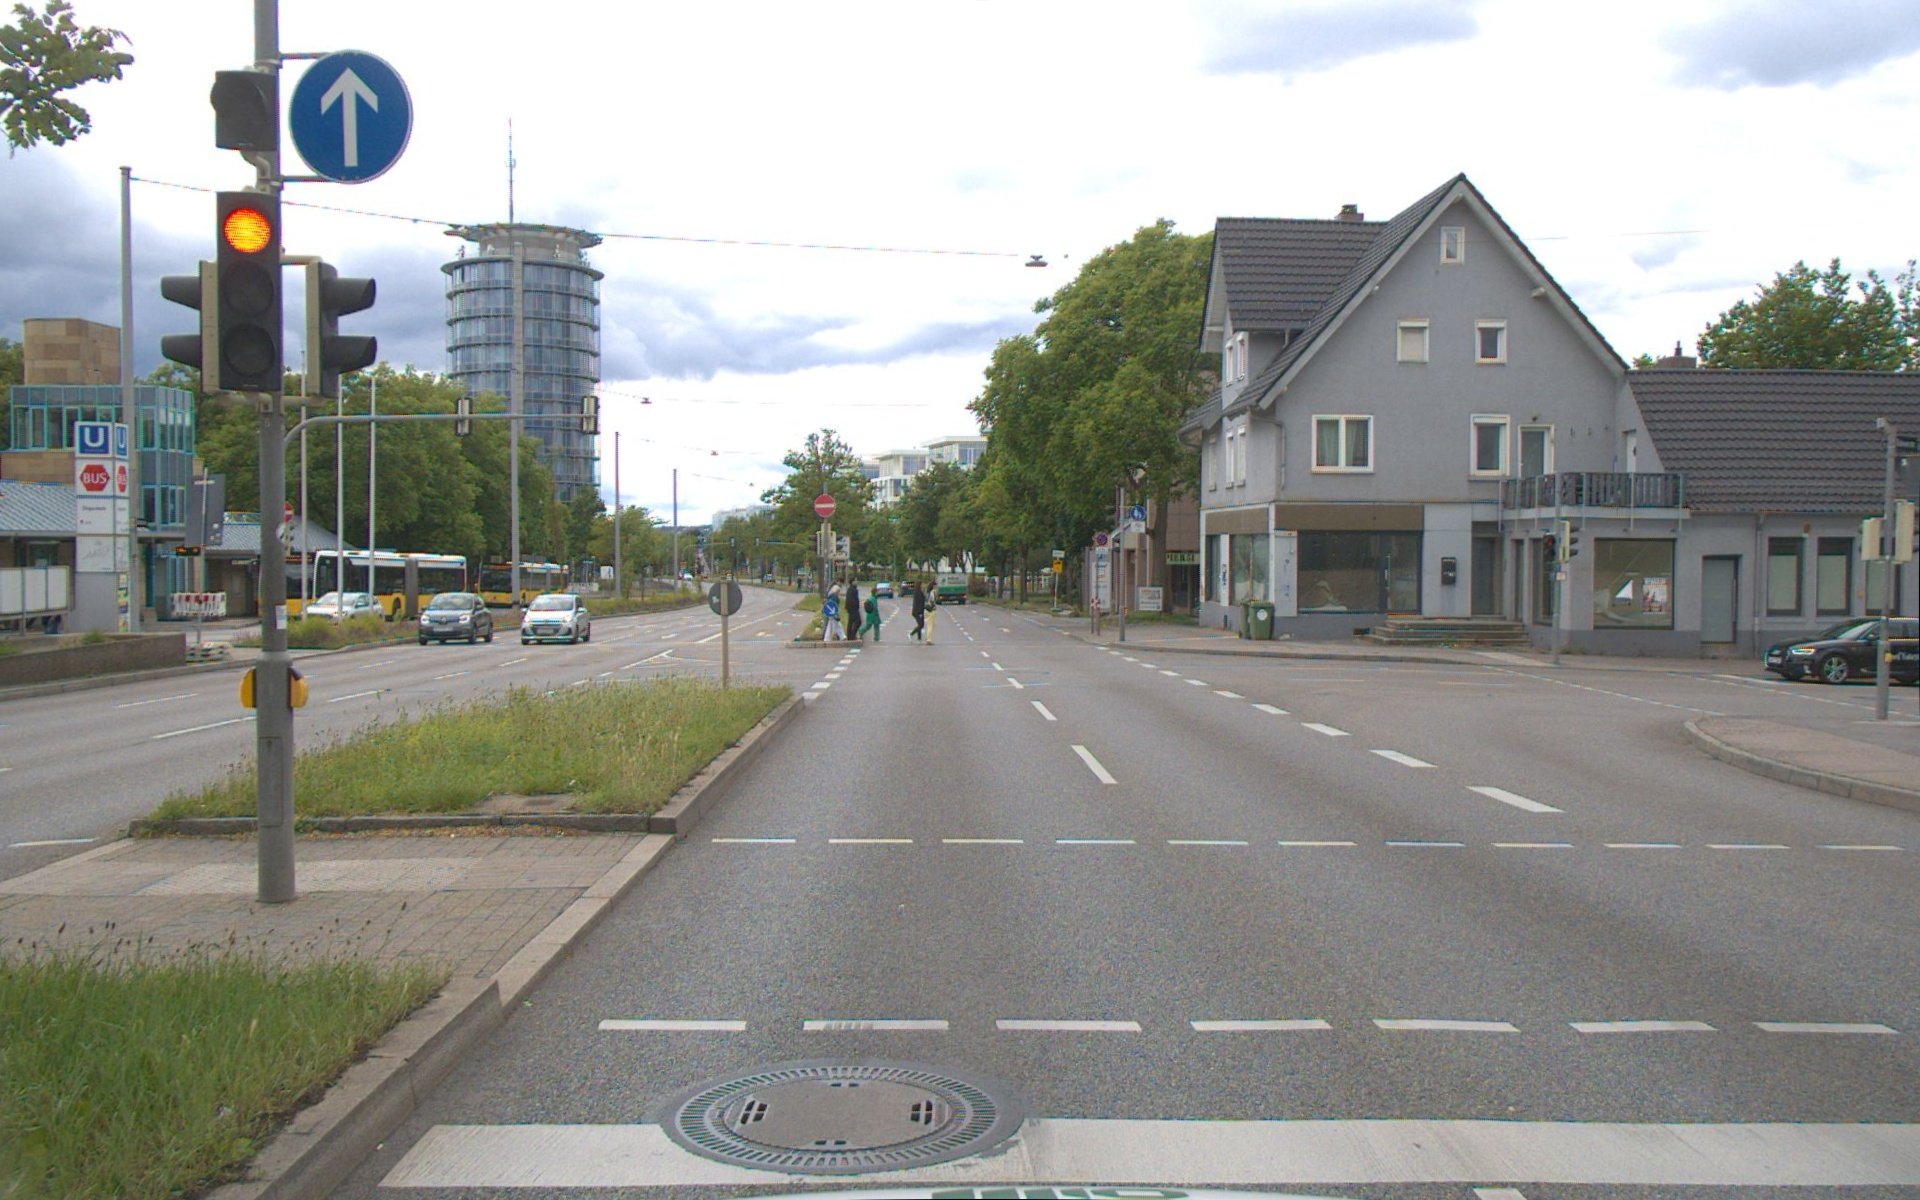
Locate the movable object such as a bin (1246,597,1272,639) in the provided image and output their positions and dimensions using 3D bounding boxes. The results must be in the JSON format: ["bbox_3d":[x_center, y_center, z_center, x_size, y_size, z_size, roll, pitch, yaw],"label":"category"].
[{"bbox_3d":[7.955,0.472,44.031,0.592,1.078,0.589,1,0,1],"label":"movable object such as a bin"}]

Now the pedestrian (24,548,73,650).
[{"bbox_3d":[-18.658,-0.025,33.863,0.668,2.049,0.645,0,0,-5],"label":"pedestrian"}]

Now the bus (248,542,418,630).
[{"bbox_3d":[-27.018,-0.583,71.943,2.772,3.490,10.737,0,0,3],"label":"bus"}]

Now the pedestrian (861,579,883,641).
[{"bbox_3d":[-2.481,0.282,46.578,0.572,1.746,0.545,0,0,-8],"label":"pedestrian"}]

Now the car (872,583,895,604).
[{"bbox_3d":[-7.030,-0.627,152.502,1.953,1.862,3.999,0,0,-1],"label":"car"}]

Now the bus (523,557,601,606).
[{"bbox_3d":[-29.812,-1.330,124.388,2.772,3.490,10.737,0,0,3],"label":"bus"}]

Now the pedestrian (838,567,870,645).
[{"bbox_3d":[-2.808,0.157,43.756,0.814,2.049,0.545,0,0,-8],"label":"pedestrian"}]

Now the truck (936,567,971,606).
[{"bbox_3d":[-0.490,-1.028,121.707,2.420,2.656,6.547,1,1,-1],"label":"truck"}]

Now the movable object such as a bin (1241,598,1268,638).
[{"bbox_3d":[7.937,0.491,44.581,0.603,1.061,0.589,1,0,1],"label":"movable object such as a bin"}]

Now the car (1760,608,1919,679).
[{"bbox_3d":[19.541,0.938,35.359,4.006,1.395,1.799,2,0,-2],"label":"car"}]

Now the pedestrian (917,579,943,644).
[{"bbox_3d":[-0.806,0.315,44.708,0.641,1.746,0.451,0,0,-8],"label":"pedestrian"}]

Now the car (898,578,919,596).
[{"bbox_3d":[-4.874,-1.234,157.655,1.953,1.579,3.999,1,0,-1],"label":"car"}]

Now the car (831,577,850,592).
[{"bbox_3d":[-12.768,-1.628,176.193,1.954,1.545,3.996,0,1,-5],"label":"car"}]

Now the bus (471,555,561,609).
[{"bbox_3d":[-30.378,-1.184,113.639,2.772,3.490,10.737,0,0,3],"label":"bus"}]

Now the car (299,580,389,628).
[{"bbox_3d":[-22.654,0.132,60.950,1.769,1.691,4.000,0,0,0],"label":"car"}]

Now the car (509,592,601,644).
[{"bbox_3d":[-12.360,0.531,50.744,1.953,1.512,3.998,-1,0,-2],"label":"car"}]

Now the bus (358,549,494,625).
[{"bbox_3d":[-26.437,-0.634,82.501,2.772,3.490,10.737,0,0,3],"label":"bus"}]

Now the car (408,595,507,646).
[{"bbox_3d":[-15.448,0.601,51.061,1.953,1.512,3.998,-1,0,-2],"label":"car"}]

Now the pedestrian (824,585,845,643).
[{"bbox_3d":[-3.378,0.373,44.515,0.533,1.522,0.486,0,0,-8],"label":"pedestrian"}]

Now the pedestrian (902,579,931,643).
[{"bbox_3d":[-1.186,0.296,45.210,0.731,1.746,0.582,0,0,-8],"label":"pedestrian"}]

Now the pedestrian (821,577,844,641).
[{"bbox_3d":[-3.494,0.250,45.240,0.601,1.746,0.545,0,0,-8],"label":"pedestrian"}]
